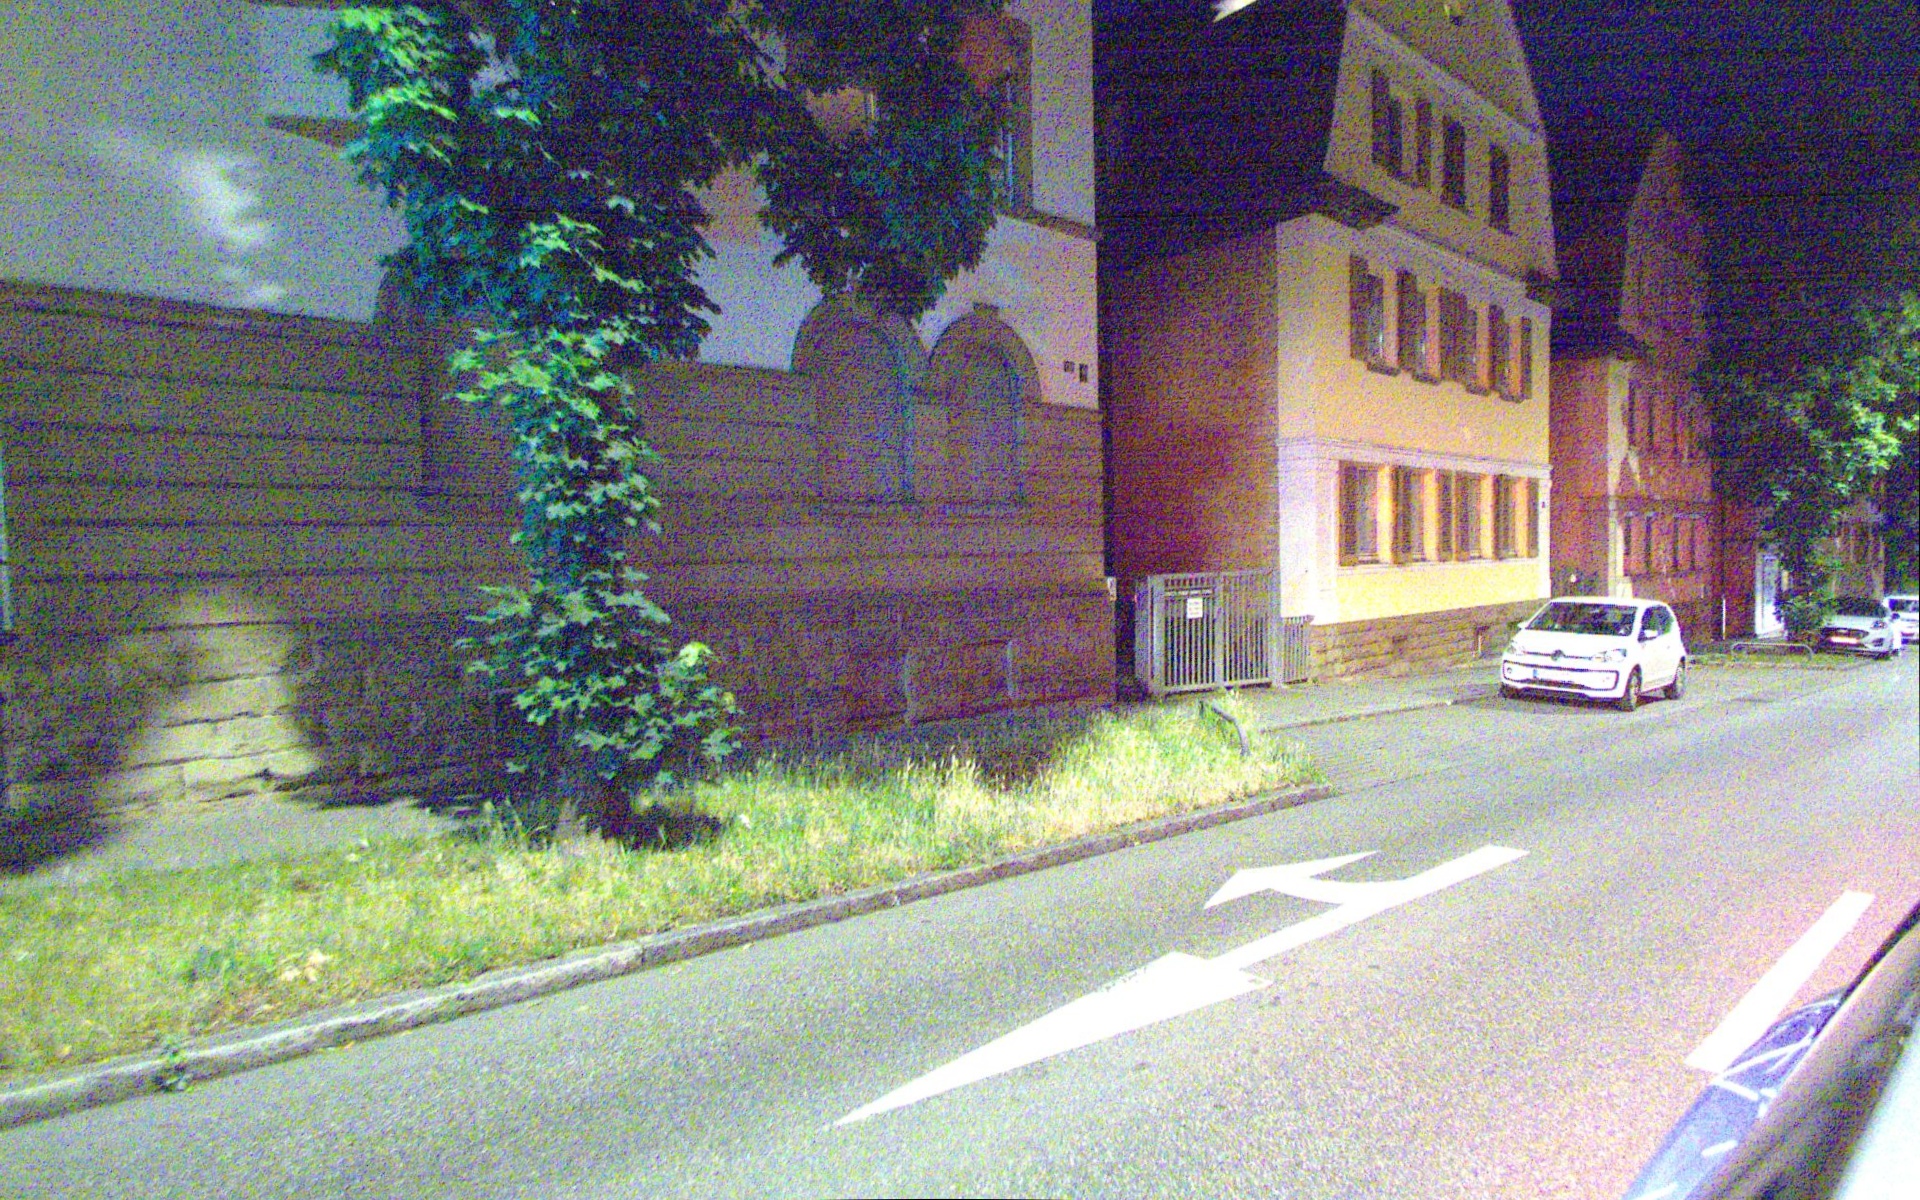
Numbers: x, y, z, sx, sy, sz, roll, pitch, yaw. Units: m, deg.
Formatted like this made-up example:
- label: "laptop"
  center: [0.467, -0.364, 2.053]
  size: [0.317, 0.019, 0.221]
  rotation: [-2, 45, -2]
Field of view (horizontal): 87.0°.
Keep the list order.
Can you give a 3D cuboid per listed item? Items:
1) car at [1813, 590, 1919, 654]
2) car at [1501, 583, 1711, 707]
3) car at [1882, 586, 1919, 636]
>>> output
- label: "car"
  center: [23.614, 0.511, 26.279]
  size: [3.824, 1.516, 1.740]
  rotation: [0, 2, -43]
- label: "car"
  center: [9.323, 0.562, 14.527]
  size: [3.425, 1.527, 1.610]
  rotation: [0, 2, -41]
- label: "car"
  center: [33.538, 0.371, 35.136]
  size: [4.107, 1.673, 1.850]
  rotation: [0, 0, -42]
